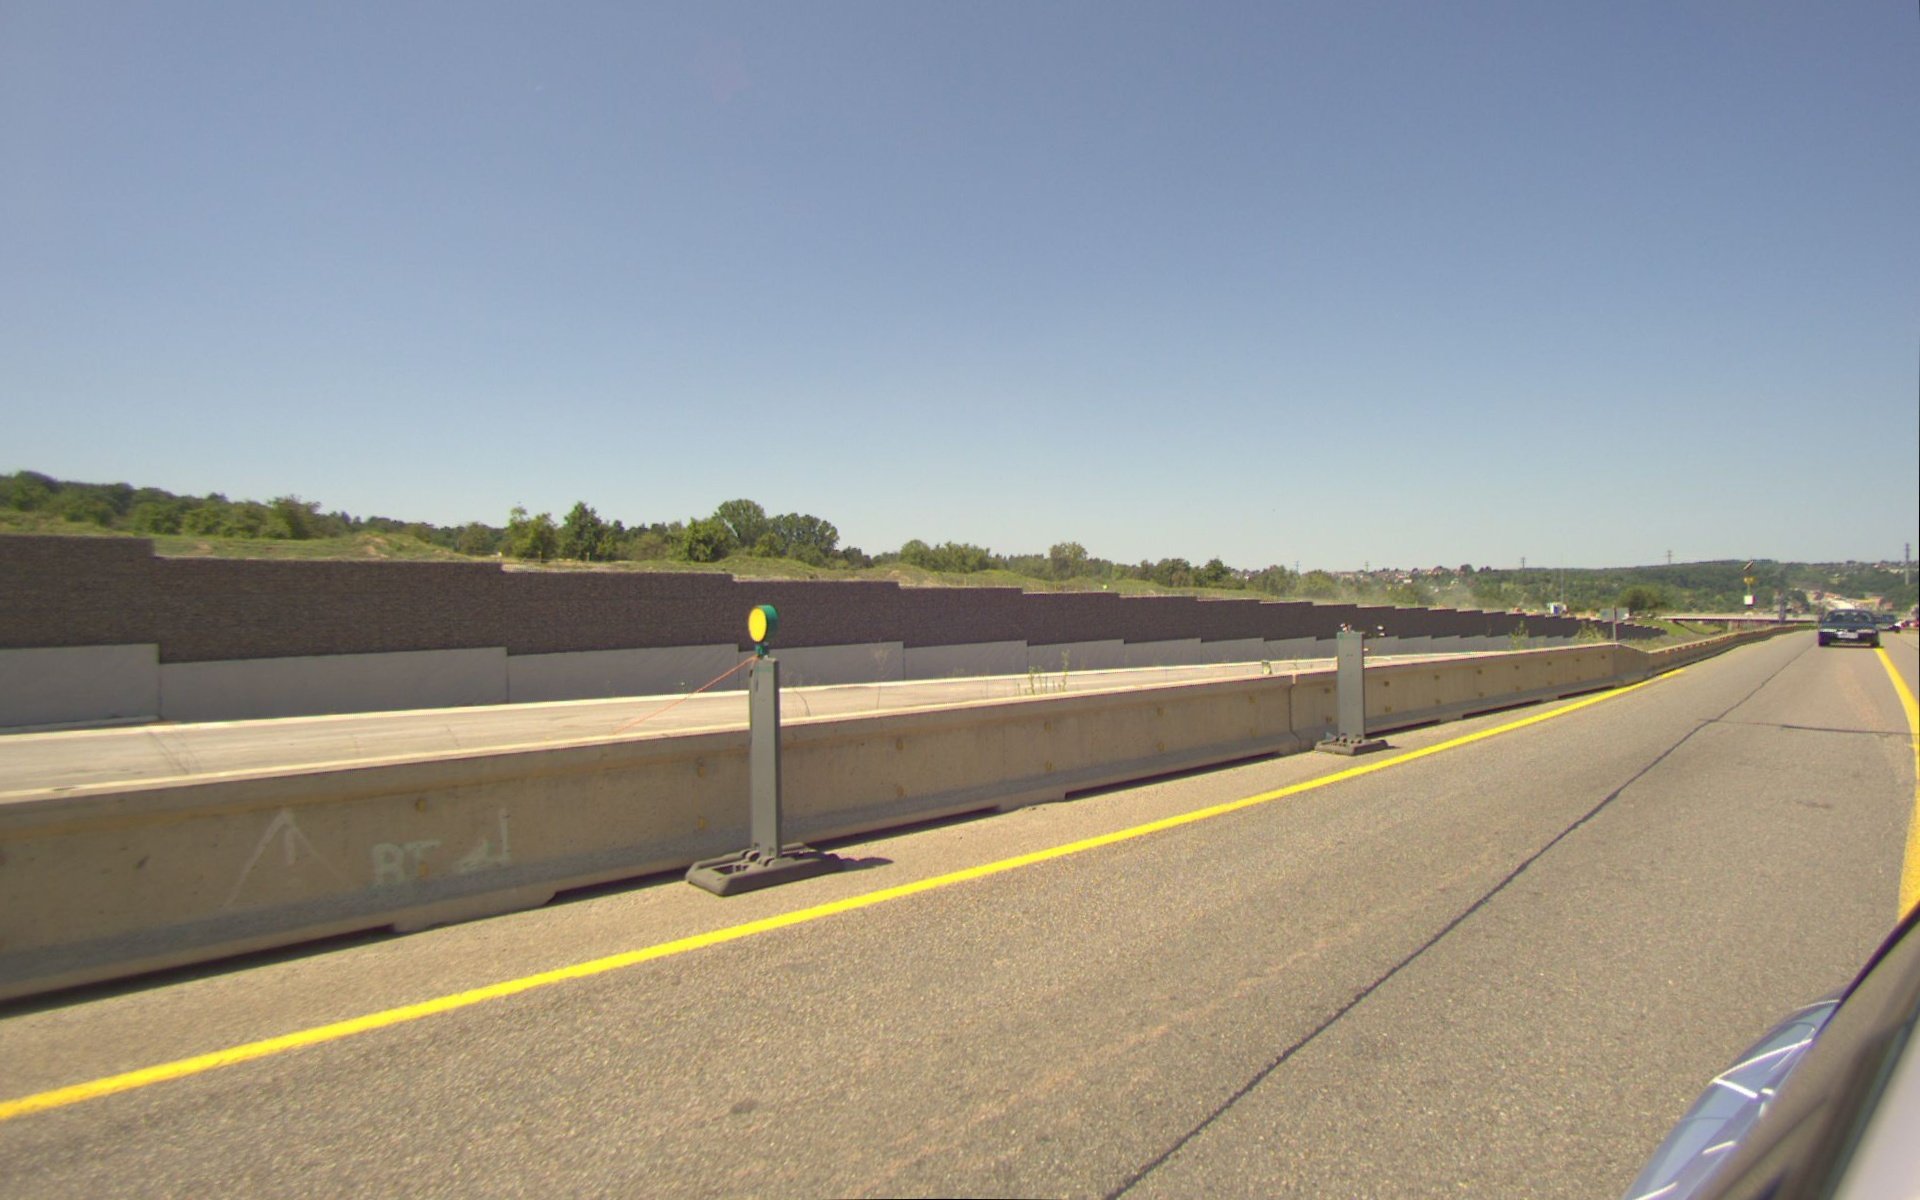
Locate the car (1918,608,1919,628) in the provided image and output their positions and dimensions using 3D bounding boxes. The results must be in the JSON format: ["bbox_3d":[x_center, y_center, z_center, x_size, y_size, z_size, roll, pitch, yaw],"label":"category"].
[{"bbox_3d":[91.124,1.719,94.781,1.852,1.863,4.521,2,0,42],"label":"car"}]

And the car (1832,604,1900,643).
[{"bbox_3d":[33.765,0.870,37.698,1.805,1.323,3.937,2,0,43],"label":"car"}]

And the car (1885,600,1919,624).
[{"bbox_3d":[71.328,0.924,76.568,1.811,1.683,3.940,-3,-3,41],"label":"car"}]
